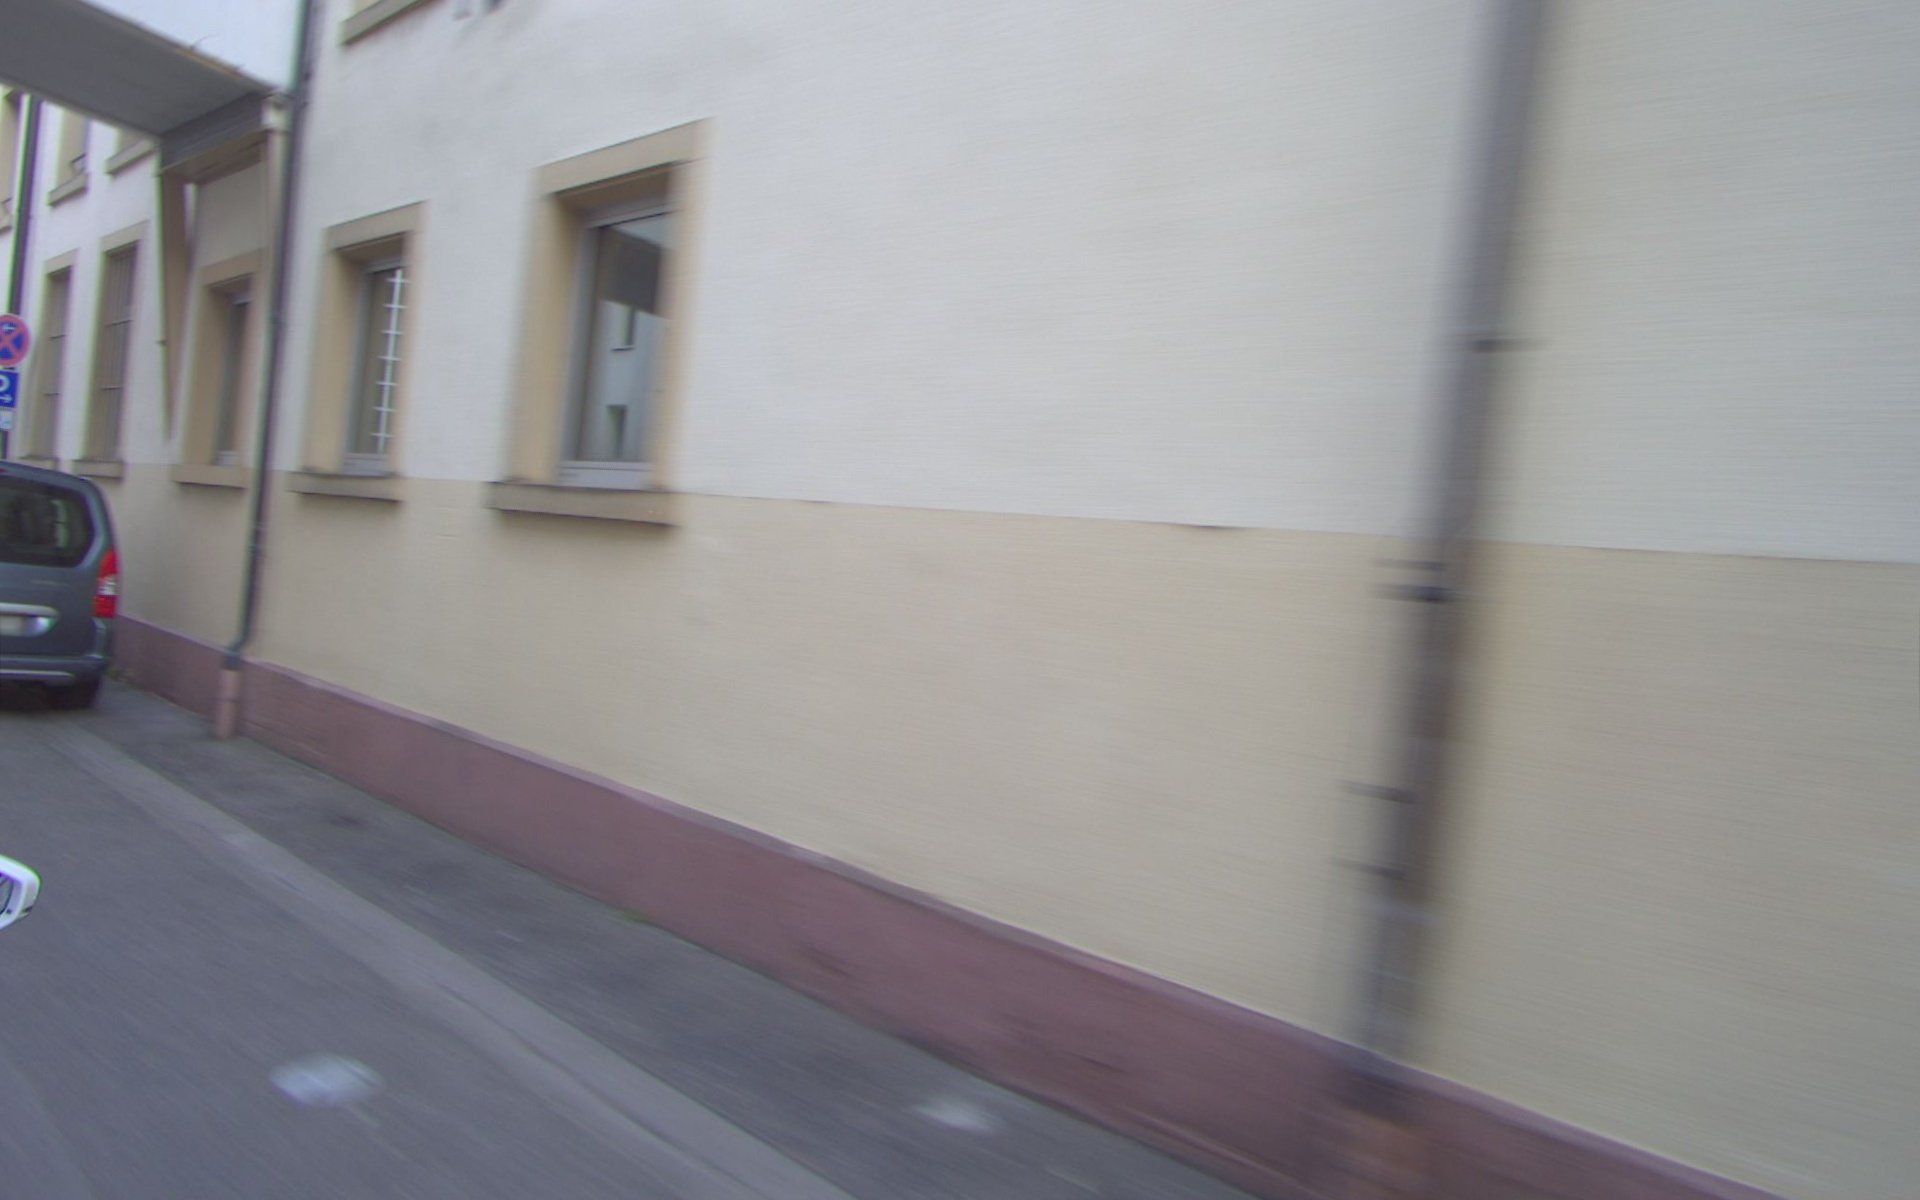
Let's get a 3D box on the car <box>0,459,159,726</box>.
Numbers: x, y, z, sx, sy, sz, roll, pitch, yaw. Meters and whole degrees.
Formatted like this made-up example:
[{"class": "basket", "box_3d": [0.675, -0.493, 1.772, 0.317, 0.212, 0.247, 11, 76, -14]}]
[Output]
[{"class": "car", "box_3d": [-8.213, -0.274, 7.778, 4.095, 1.775, 1.858, 7, -2, 34]}]
